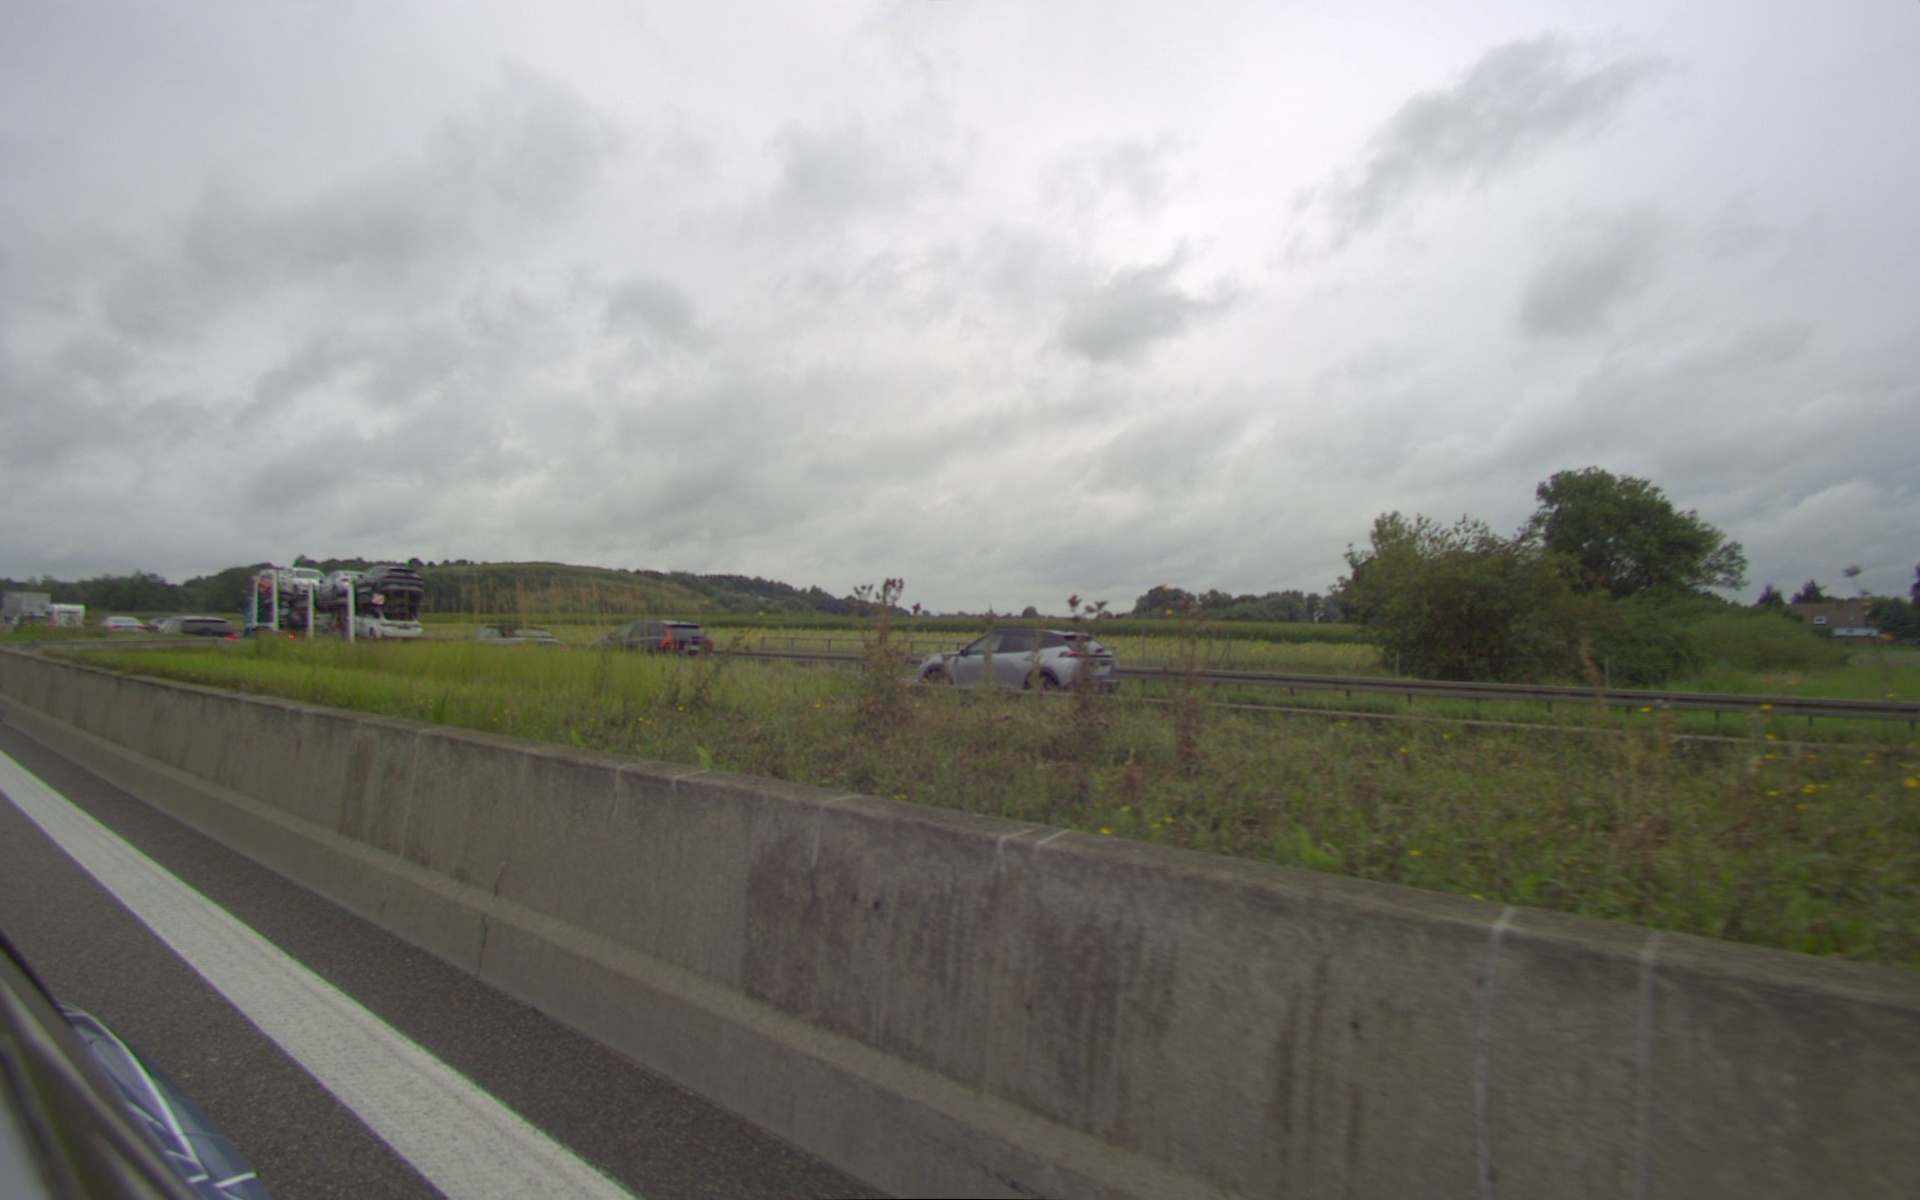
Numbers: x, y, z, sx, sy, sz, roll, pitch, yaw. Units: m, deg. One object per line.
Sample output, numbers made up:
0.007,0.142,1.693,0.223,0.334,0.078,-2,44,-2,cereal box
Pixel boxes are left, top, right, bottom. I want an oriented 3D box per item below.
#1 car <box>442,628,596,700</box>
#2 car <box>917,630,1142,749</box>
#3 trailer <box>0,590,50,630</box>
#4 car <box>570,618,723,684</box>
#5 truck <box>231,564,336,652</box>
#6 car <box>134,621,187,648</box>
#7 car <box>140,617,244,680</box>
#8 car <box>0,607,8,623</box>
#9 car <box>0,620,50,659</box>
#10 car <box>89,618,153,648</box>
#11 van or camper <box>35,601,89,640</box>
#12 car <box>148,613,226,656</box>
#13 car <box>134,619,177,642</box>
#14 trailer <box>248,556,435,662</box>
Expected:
-12.027,1.646,27.447,4.799,1.723,2.071,-1,-1,42,car
1.286,1.636,19.714,3.998,2.029,1.973,-1,-3,41,car
-107.931,1.040,115.902,15.617,4.303,3.674,0,1,41,trailer
-9.223,1.402,29.552,4.960,1.723,2.071,-1,-1,42,car
-34.994,0.386,52.249,6.231,4.273,2.926,0,1,41,truck
-54.429,2.343,68.836,4.799,1.723,2.071,-1,-1,42,car
-24.036,1.464,31.634,3.998,1.829,1.795,-1,-2,41,car
-123.849,1.959,129.891,4.619,2.029,1.973,-1,-2,41,car
-51.165,2.119,55.091,4.588,1.893,1.907,0,1,41,car
-50.006,1.930,60.301,5.161,1.723,2.072,-1,-1,40,car
-87.179,1.919,98.210,7.692,3.529,2.682,0,1,39,van or camper
-37.016,1.596,48.419,5.030,1.893,1.973,0,1,41,car
-63.375,2.377,79.746,3.996,1.607,1.866,0,1,39,car
-29.236,0.344,47.212,15.701,4.273,2.967,0,1,42,trailer
